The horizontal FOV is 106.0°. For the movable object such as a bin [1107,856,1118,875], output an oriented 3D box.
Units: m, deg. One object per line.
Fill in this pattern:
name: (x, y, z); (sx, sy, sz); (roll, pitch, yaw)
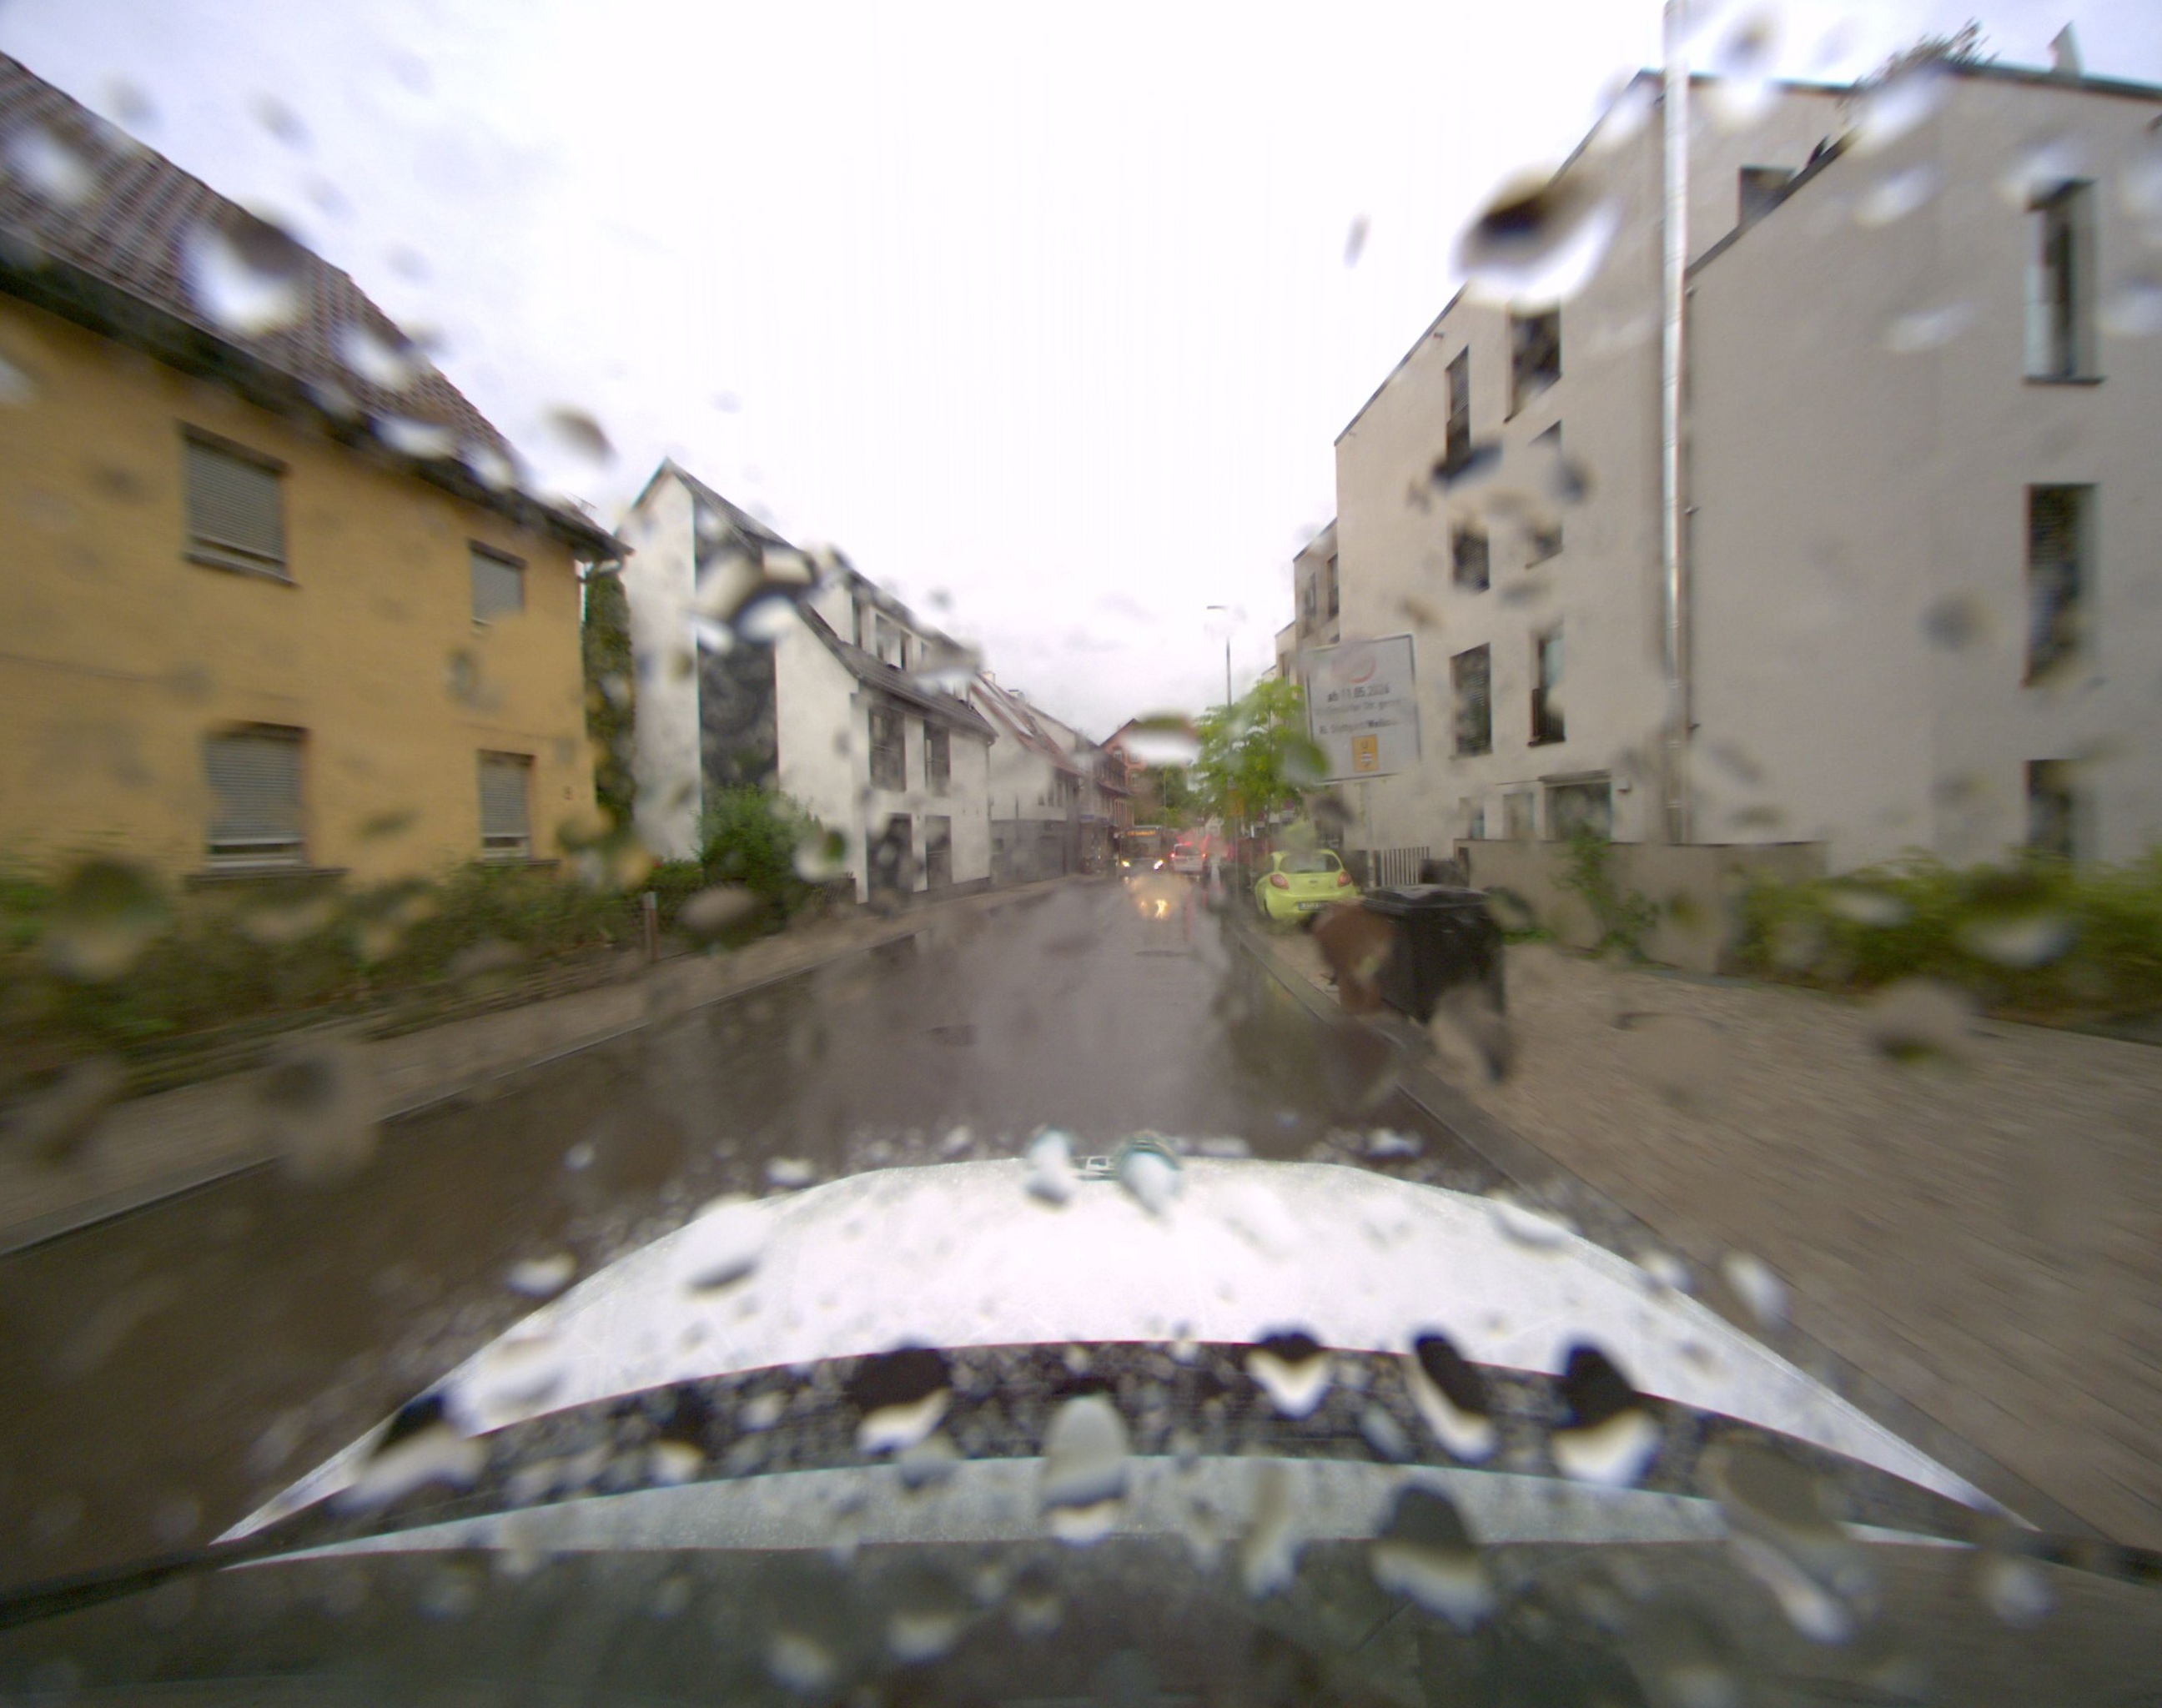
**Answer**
movable object such as a bin: (1.913, 0.683, 49.308); (0.630, 1.122, 0.520); (-2, -1, 6)

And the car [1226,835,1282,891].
car: (6.008, 0.296, 28.093); (1.700, 1.762, 4.014); (-2, -1, 13)

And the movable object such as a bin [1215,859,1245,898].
movable object such as a bin: (4.385, 0.708, 24.010); (0.805, 1.109, 0.988); (-2, -1, 8)

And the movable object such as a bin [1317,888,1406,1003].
movable object such as a bin: (2.709, 0.875, 7.919); (0.702, 1.046, 0.519); (-2, -1, 7)

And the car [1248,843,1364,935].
car: (4.242, 0.595, 15.791); (1.594, 1.484, 3.308); (-4, 0, 7)

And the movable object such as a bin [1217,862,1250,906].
movable object such as a bin: (4.071, 0.791, 21.765); (0.805, 1.109, 0.988); (-2, -1, 8)

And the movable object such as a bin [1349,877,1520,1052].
movable object such as a bin: (2.734, 0.801, 6.490); (0.763, 1.173, 1.543); (-2, -1, 4)

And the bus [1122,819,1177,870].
bus: (4.788, -0.566, 55.196); (2.722, 3.130, 9.260); (-2, -1, 11)

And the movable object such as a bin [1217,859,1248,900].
movable object such as a bin: (4.275, 0.702, 23.006); (0.805, 1.109, 0.988); (-2, -1, 8)

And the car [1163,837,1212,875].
car: (5.819, 0.113, 44.064); (2.180, 1.851, 4.319); (-3, 0, 13)

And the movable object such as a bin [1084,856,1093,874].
movable object such as a bin: (0.489, 0.665, 50.695); (0.516, 1.122, 0.636); (-2, -1, 2)
